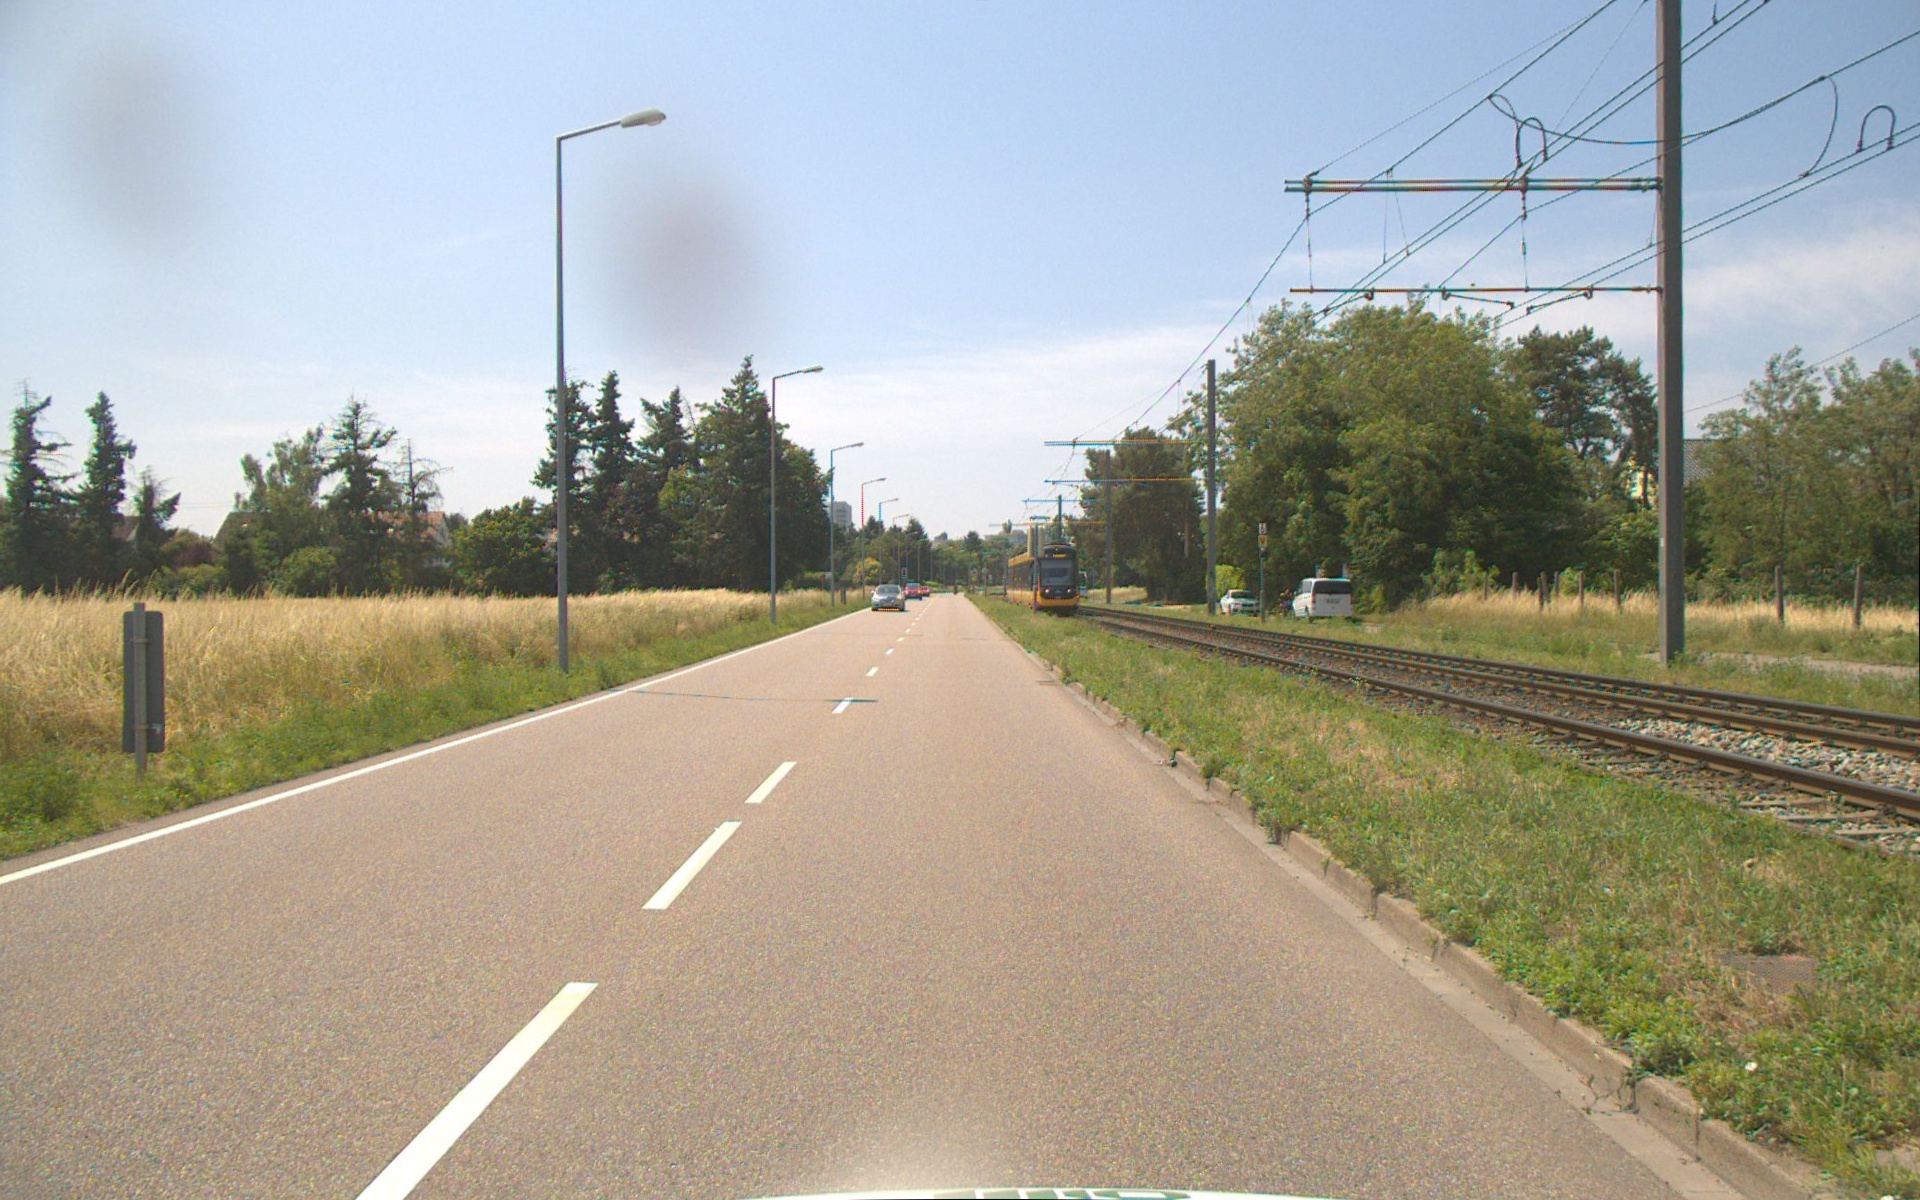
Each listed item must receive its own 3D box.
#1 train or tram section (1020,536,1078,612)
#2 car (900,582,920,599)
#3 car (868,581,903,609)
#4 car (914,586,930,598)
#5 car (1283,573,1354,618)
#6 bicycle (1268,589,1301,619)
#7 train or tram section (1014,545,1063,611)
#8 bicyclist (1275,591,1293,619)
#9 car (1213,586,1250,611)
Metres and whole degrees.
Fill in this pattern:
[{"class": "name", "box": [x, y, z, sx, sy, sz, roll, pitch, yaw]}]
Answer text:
[{"class": "train or tram section", "box": [4.735, -1.293, 90.175, 2.379, 3.832, 11.557, -1, -1, -1]}, {"class": "car", "box": [-4.410, -0.824, 146.457, 1.612, 1.424, 3.844, -1, -1, -1]}, {"class": "car", "box": [-4.233, -0.275, 94.761, 1.797, 1.493, 4.677, 0, -1, -1]}, {"class": "car", "box": [-4.479, -0.960, 194.301, 1.770, 1.308, 4.285, -1, -1, -1]}, {"class": "car", "box": [15.309, -0.161, 70.806, 1.953, 1.834, 4.793, -1, -1, -1]}, {"class": "bicycle", "box": [15.971, 0.195, 81.454, 0.909, 1.455, 3.385, -1, -1, 0]}, {"class": "train or tram section", "box": [4.647, -1.275, 99.380, 2.508, 3.778, 6.728, -1, -1, -1]}, {"class": "bicyclist", "box": [16.009, 0.239, 81.631, 0.687, 1.361, 0.903, -1, -1, -1]}, {"class": "car", "box": [14.775, -0.064, 90.197, 1.399, 1.331, 3.465, -1, -1, -1]}]
